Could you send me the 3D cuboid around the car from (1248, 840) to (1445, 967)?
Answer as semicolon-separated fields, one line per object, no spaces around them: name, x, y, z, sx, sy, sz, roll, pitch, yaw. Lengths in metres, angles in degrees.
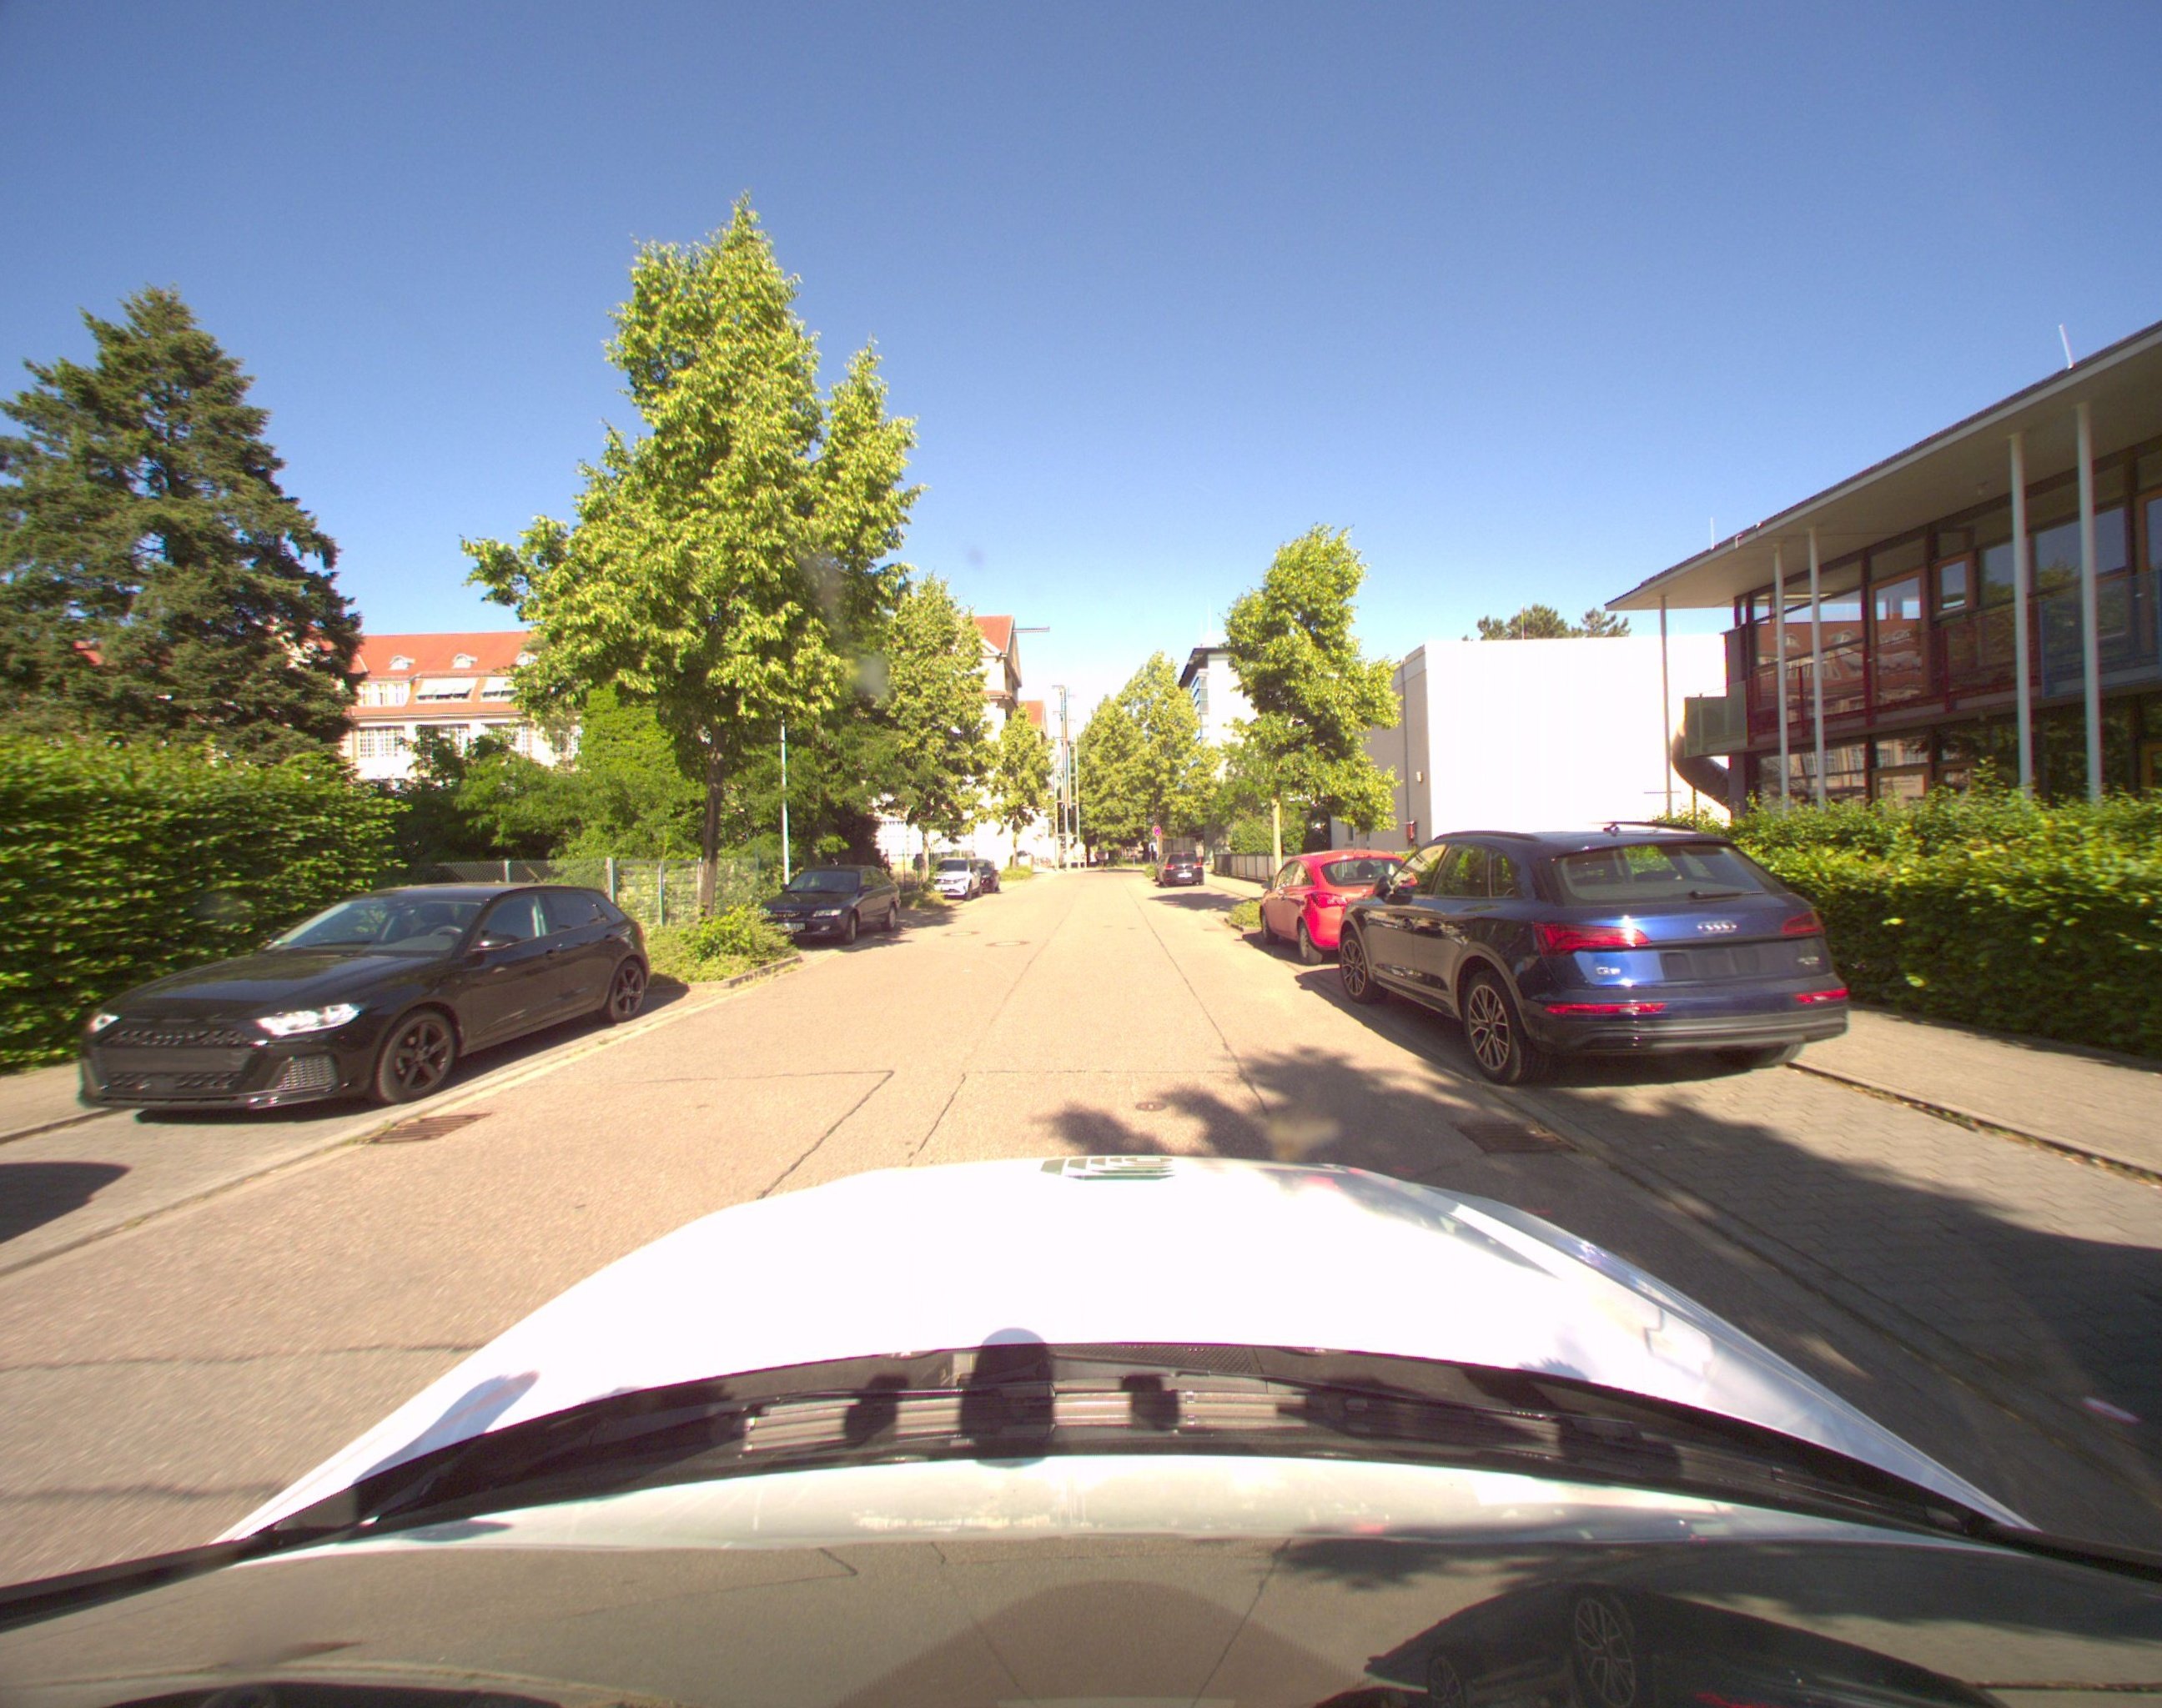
car;3.709;0.617;12.095;1.669;1.504;3.847;-3;0;1

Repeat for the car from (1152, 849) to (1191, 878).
car;4.703;0.490;42.794;1.740;1.422;4.426;-1;0;2

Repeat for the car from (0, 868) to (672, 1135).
car;-5.379;0.894;6.755;1.834;1.474;4.028;0;0;1

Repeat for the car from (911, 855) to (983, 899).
car;-4.729;0.763;29.372;1.834;1.474;4.003;0;0;1

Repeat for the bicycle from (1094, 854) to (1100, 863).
bicycle;2.073;0.626;107.557;0.618;1.197;2.129;-2;0;-3

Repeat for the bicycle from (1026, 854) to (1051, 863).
bicycle;-4.987;0.511;95.499;2.790;1.063;0.719;-1;0;1

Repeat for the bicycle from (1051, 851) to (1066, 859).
bicycle;-3.084;0.111;113.416;2.049;1.066;0.507;-2;0;3

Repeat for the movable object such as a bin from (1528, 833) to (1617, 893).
movable object such as a bin;12.719;0.226;21.148;1.325;1.448;1.632;-2;0;2

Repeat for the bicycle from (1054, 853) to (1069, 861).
bicycle;-2.779;0.413;114.223;2.049;1.066;0.507;-2;0;3

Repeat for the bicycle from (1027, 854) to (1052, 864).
bicycle;-4.764;0.621;93.921;2.794;1.063;0.718;-1;0;-3

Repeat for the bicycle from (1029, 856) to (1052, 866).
bicycle;-4.957;0.868;100.746;2.794;1.150;0.718;-2;0;-3

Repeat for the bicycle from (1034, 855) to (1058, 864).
bicycle;-4.235;0.665;98.379;2.794;1.063;0.718;-1;0;-3

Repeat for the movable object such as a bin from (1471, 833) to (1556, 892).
movable object such as a bin;11.309;0.215;21.380;1.361;1.448;1.632;-2;0;2

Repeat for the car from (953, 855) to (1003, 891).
car;-4.386;0.770;35.011;1.712;1.474;3.545;0;0;-1

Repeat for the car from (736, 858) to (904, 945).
car;-4.994;0.835;16.272;1.834;1.474;4.361;0;0;1

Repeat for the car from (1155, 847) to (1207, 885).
car;4.370;0.482;36.178;1.778;1.516;4.000;-2;0;0

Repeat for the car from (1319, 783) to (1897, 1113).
car;3.490;0.514;6.616;1.893;1.682;4.413;-3;0;2
